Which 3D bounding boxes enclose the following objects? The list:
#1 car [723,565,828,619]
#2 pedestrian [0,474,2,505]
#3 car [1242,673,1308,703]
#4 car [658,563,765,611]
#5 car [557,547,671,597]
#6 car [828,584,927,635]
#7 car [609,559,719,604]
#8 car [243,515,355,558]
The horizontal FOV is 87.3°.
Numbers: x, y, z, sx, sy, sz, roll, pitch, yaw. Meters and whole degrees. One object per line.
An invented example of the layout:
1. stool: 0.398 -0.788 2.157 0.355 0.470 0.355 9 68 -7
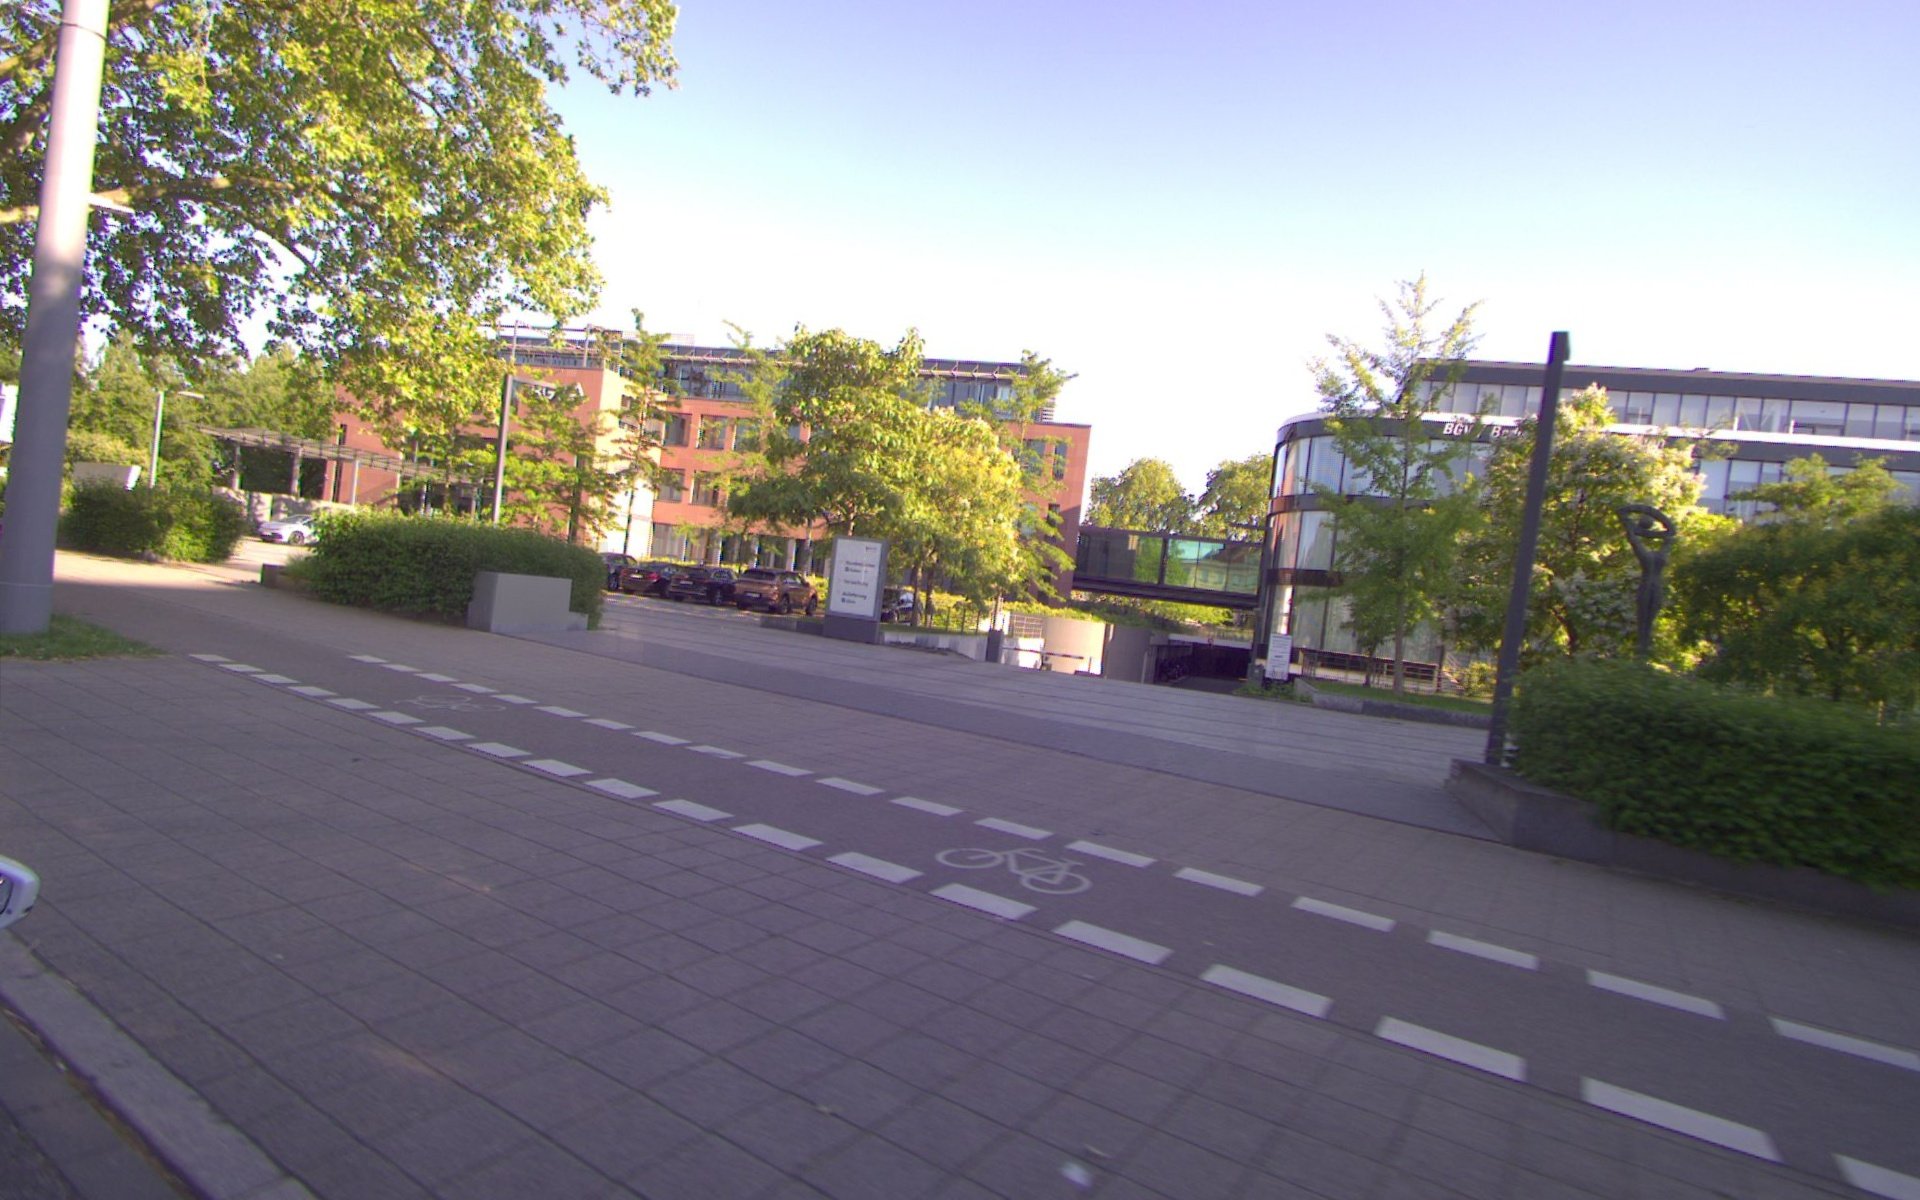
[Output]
1. car: -6.997 -0.258 38.749 2.033 1.735 4.686 7 1 14
2. pedestrian: -26.943 -2.603 27.490 1.092 1.816 0.805 7 2 33
3. car: 24.607 6.909 78.561 4.627 1.735 2.059 7 1 -25
4. car: -9.508 -0.466 38.932 1.926 1.485 4.686 7 1 14
5. car: -14.039 -1.080 41.119 2.033 1.618 4.686 7 1 14
6. car: -2.911 0.399 36.604 2.033 1.503 4.688 7 0 14
7. car: -11.588 -0.676 39.790 1.936 1.401 4.686 7 1 14
8. car: -31.420 -3.007 47.997 1.962 1.526 4.173 7 1 12
